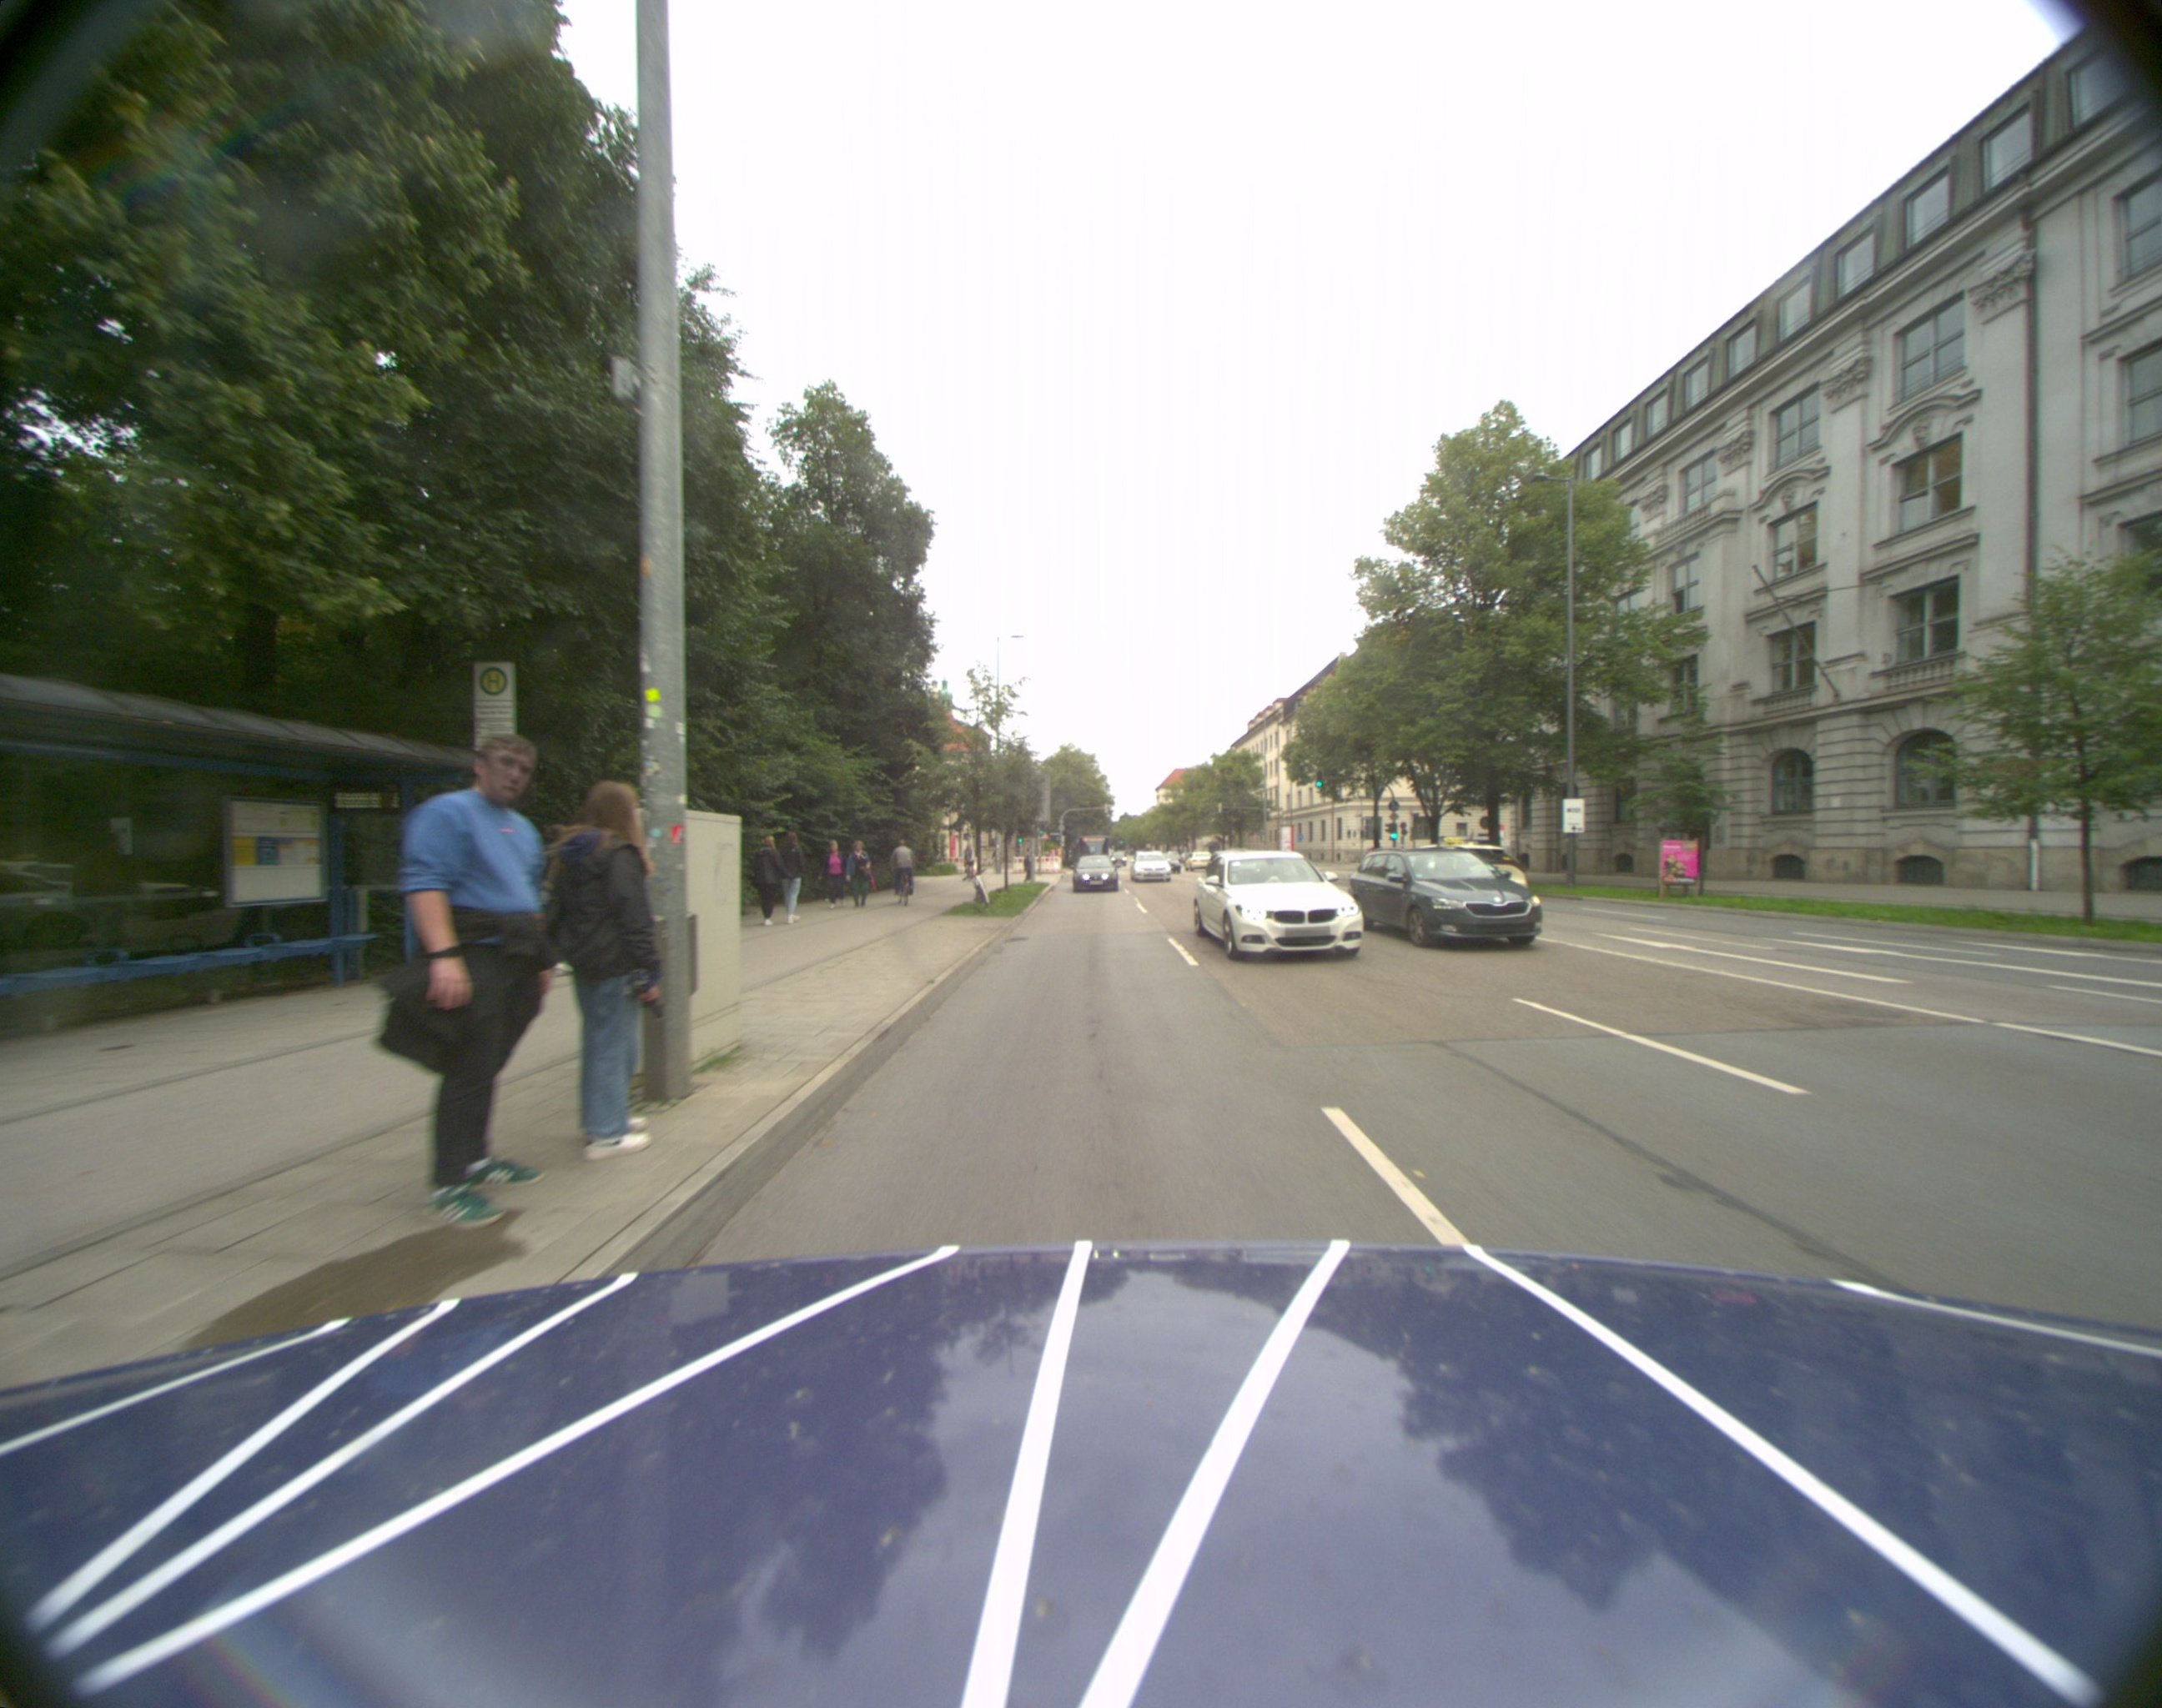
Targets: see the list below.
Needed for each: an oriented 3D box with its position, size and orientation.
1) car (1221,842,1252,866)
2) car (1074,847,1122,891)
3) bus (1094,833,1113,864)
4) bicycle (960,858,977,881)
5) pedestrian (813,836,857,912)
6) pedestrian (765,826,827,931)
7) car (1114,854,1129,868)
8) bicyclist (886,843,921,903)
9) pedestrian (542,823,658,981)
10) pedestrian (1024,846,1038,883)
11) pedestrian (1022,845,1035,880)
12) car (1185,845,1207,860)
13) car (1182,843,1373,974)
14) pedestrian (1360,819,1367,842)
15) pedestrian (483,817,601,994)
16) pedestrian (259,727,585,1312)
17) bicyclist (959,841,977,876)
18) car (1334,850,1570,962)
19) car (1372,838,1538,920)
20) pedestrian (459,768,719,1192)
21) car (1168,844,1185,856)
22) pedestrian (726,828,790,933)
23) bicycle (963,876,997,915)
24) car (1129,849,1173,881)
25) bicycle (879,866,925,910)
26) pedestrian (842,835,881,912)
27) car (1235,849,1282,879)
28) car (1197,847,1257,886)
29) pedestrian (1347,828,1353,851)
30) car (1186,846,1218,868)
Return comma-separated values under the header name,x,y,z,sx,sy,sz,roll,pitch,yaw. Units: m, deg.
name,x,y,z,sx,sy,sz,roll,pitch,yaw
car,12.360,-0.032,60.570,1.832,1.740,4.259,2,2,4
car,0.666,0.546,30.798,1.797,1.627,4.274,-1,1,0
bus,1.965,-0.492,67.760,1.638,2.570,6.701,-1,1,1
bicycle,-5.557,0.740,37.419,0.740,1.052,2.161,-2,1,-9
pedestrian,-6.107,0.477,18.870,0.753,1.828,0.756,-2,1,2
pedestrian,-5.391,0.450,14.422,0.710,1.904,0.956,-2,1,1
car,4.572,0.793,86.428,1.638,1.562,3.945,-1,1,1
bicyclist,-4.727,0.485,20.301,0.710,1.553,0.639,-2,1,1
pedestrian,-5.812,0.550,9.248,0.710,1.798,0.950,-2,1,1
pedestrian,-2.417,0.490,36.748,0.626,1.751,0.635,-1,1,-3
pedestrian,-2.603,0.409,37.706,0.611,1.751,0.635,0,2,-8
car,12.657,-0.195,83.716,1.844,1.646,4.350,1,1,1
car,2.850,0.669,12.230,1.797,1.627,5.025,-1,1,0
pedestrian,22.824,-1.927,61.316,0.502,1.844,0.470,0,2,19
pedestrian,-5.729,0.526,8.113,0.710,1.798,0.639,-2,1,1
pedestrian,-2.403,0.508,2.797,0.637,1.798,0.711,-1,2,37
bicyclist,-5.561,0.215,37.422,0.759,1.657,0.898,-2,1,-11
car,5.709,0.694,12.376,1.797,1.439,4.274,-1,1,0
car,8.968,0.512,18.731,1.861,1.738,4.629,1,1,1
pedestrian,-2.252,0.541,3.567,0.710,1.798,0.639,-2,1,1
car,13.142,-0.552,104.786,1.748,1.587,4.000,1,0,0
pedestrian,-6.115,0.479,14.417,0.710,1.904,0.956,-2,1,1
bicycle,-2.430,0.987,18.426,0.494,0.789,1.889,-2,1,1
car,3.390,0.508,37.537,1.797,1.439,4.274,-1,1,0
bicycle,-4.710,0.872,20.130,0.676,1.024,2.012,-2,1,1
pedestrian,-5.391,0.468,18.715,0.672,1.828,0.641,-2,1,2
car,9.206,0.482,39.760,1.770,1.415,4.748,1,1,6
car,6.083,0.477,32.197,1.696,1.507,4.338,-1,1,0
pedestrian,21.791,-1.141,61.532,0.502,1.844,0.528,0,2,19
car,9.133,0.257,57.835,1.832,1.533,4.824,0,-1,2
